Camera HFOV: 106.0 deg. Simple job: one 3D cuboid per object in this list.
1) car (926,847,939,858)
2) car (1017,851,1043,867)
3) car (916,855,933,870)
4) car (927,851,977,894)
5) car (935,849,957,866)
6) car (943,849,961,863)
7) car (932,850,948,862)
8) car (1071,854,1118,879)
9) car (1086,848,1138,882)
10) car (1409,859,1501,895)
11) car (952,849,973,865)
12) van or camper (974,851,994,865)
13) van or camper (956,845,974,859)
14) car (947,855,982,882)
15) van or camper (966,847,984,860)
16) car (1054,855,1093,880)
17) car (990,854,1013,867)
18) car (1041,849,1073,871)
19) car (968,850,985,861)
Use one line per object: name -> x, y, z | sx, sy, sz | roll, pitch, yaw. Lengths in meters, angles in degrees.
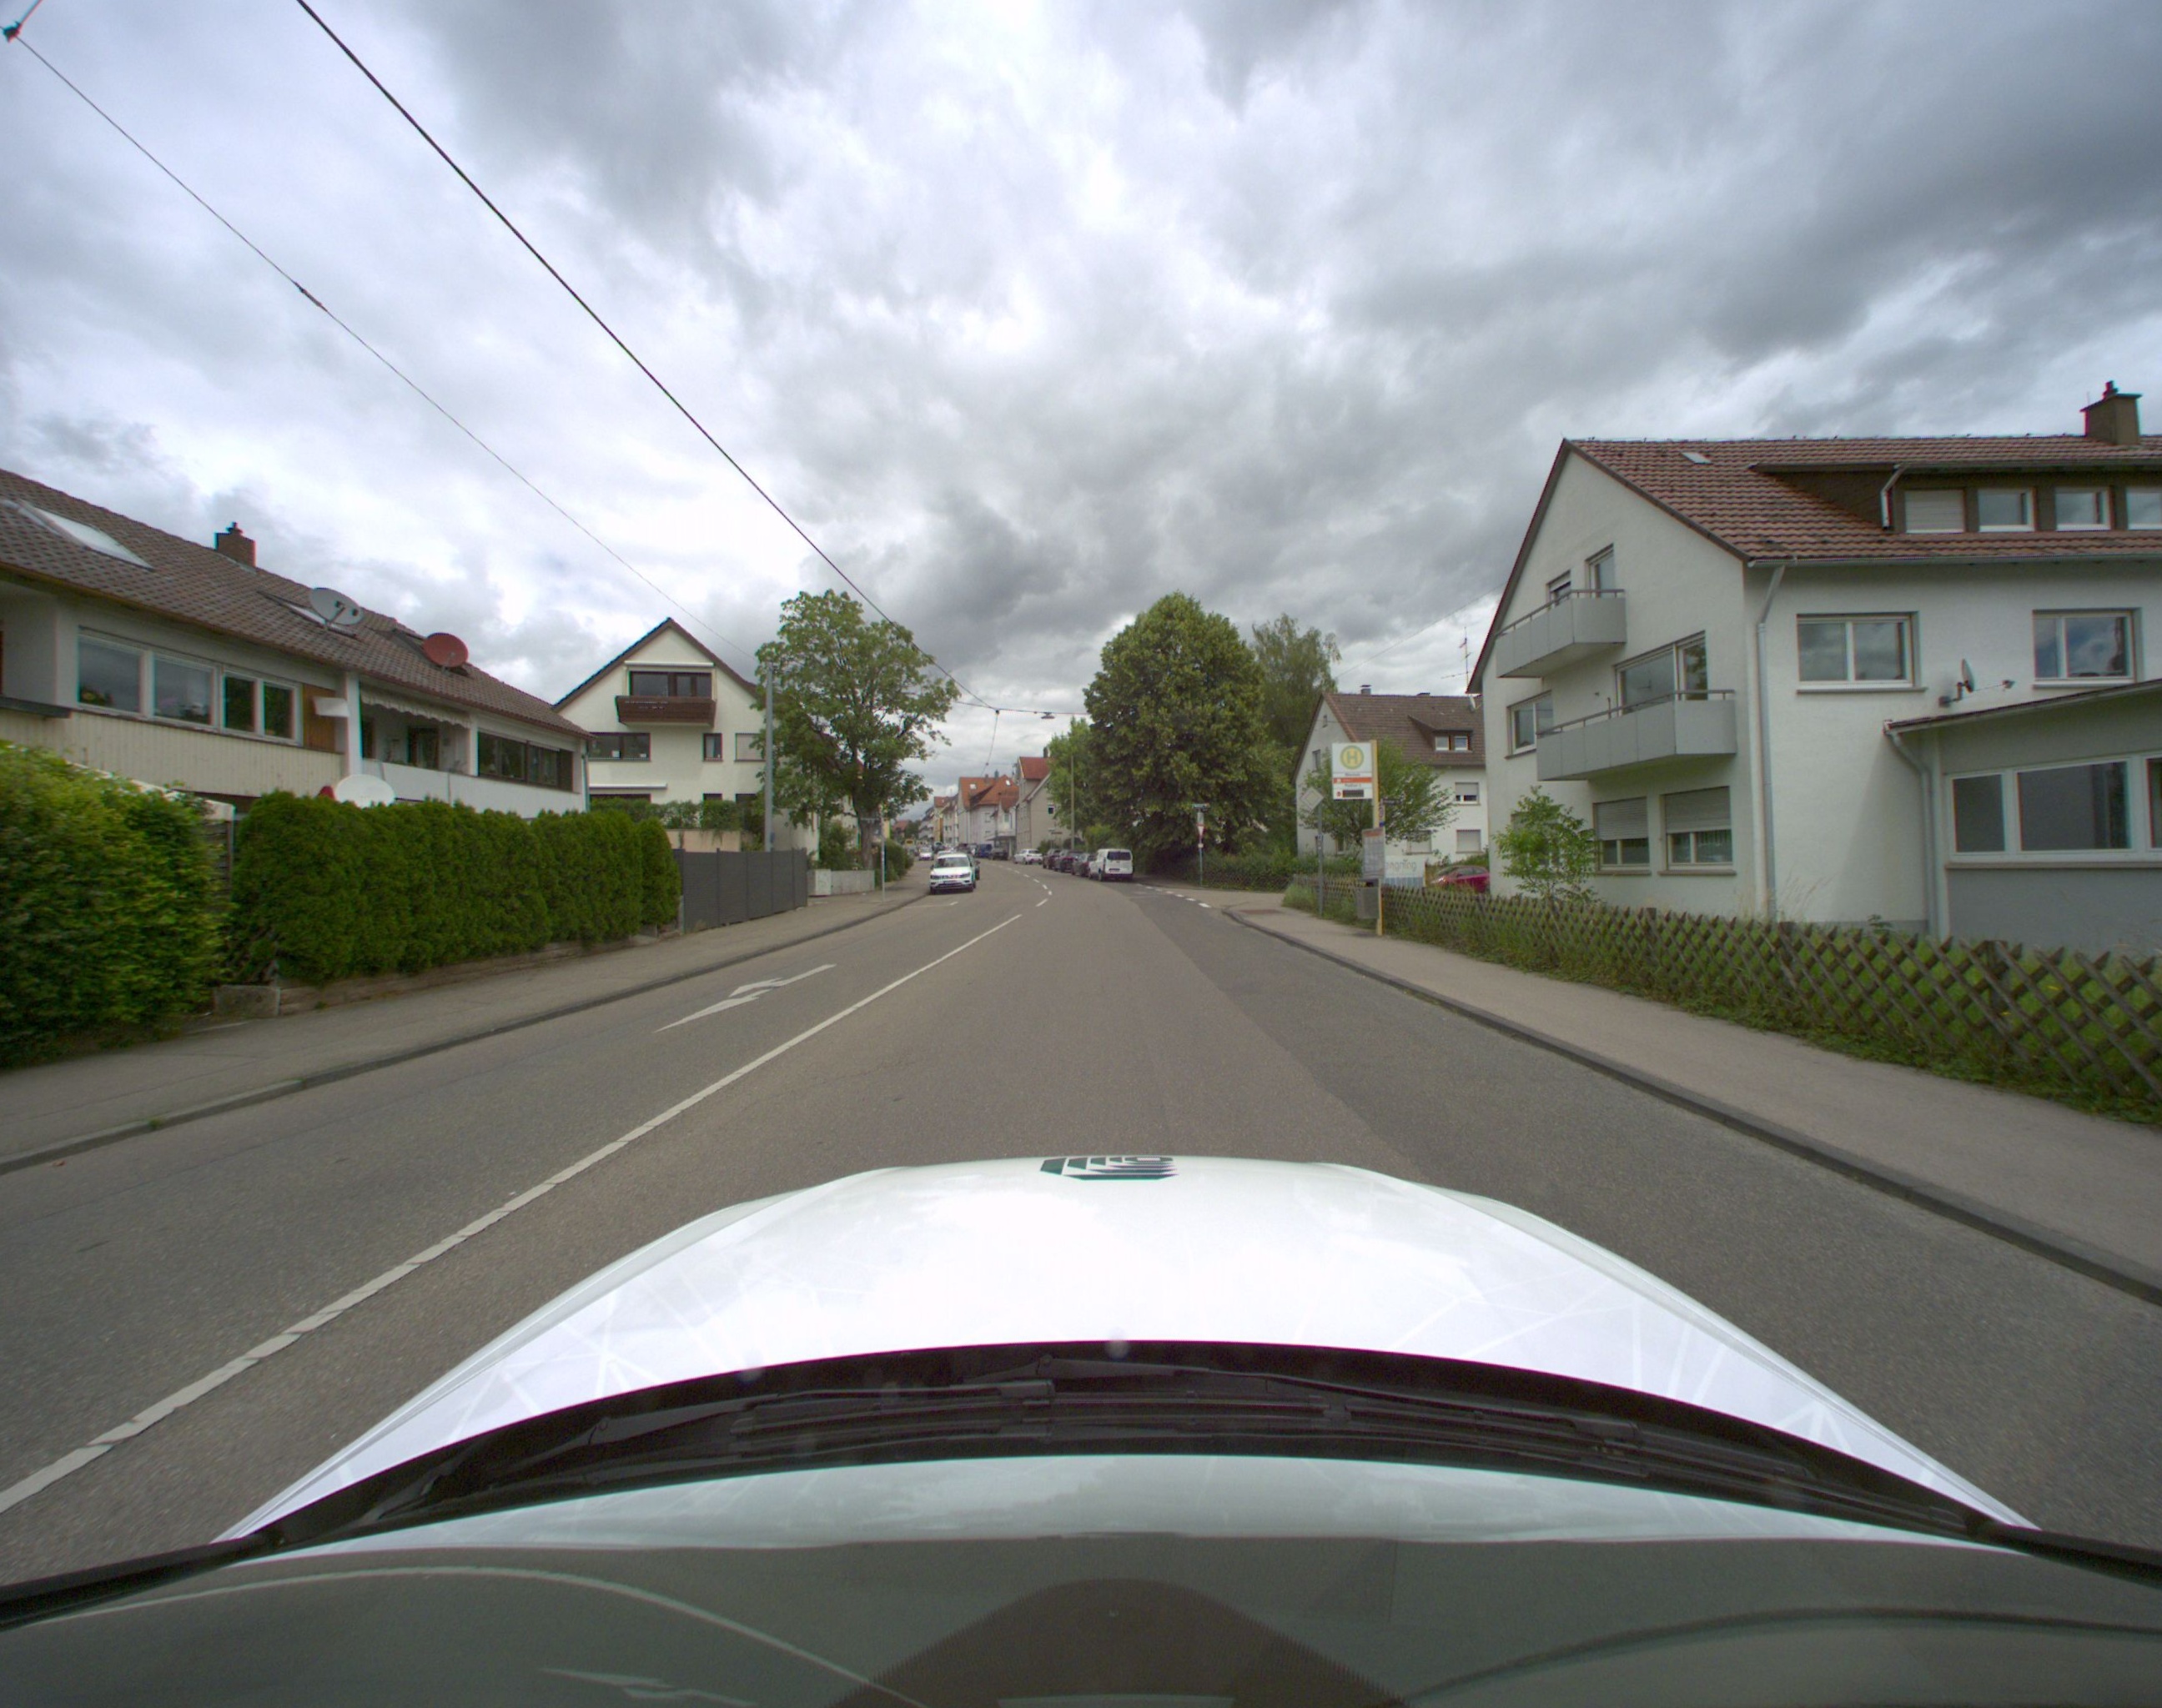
car -> -28.749, -0.338, 157.591 | 2.157, 2.013, 3.977 | 1, 0, -17
car -> -4.793, 0.442, 76.222 | 1.942, 1.439, 3.984 | 0, 0, -12
car -> -19.335, 1.045, 100.560 | 1.833, 1.578, 4.019 | -4, 1, -9
car -> -5.691, 0.799, 36.324 | 1.847, 1.714, 4.566 | -2, 0, -5
car -> -12.633, 0.336, 76.158 | 1.728, 1.458, 3.881 | -4, 1, -13
car -> -19.436, 0.284, 122.581 | 2.157, 2.013, 3.977 | 1, 0, -17
car -> -23.927, 0.372, 138.401 | 2.157, 2.013, 3.977 | 1, 0, -17
car -> 0.763, 0.771, 50.824 | 1.994, 1.478, 4.602 | -1, 0, -11
car -> 1.655, 0.582, 45.587 | 1.839, 1.774, 4.299 | 2, 0, -13
car -> 17.511, 1.109, 38.181 | 3.703, 1.564, 1.679 | 1, -4, -15
car -> -15.679, 0.386, 107.919 | 2.157, 2.013, 3.977 | 1, 0, -17
van or camper -> -13.094, 0.505, 110.145 | 1.931, 1.925, 4.804 | 0, 0, -16
van or camper -> -18.338, -0.325, 128.971 | 1.997, 2.065, 5.913 | 2, 0, -16
car -> -6.969, 0.831, 48.422 | 1.764, 1.438, 4.062 | -3, 1, -12
van or camper -> -15.845, -0.067, 121.673 | 1.875, 1.829, 4.654 | 2, 0, -16
car -> -0.582, 0.924, 57.355 | 1.994, 1.615, 4.521 | 1, -1, -11
car -> -9.709, 0.824, 99.270 | 1.997, 1.518, 4.865 | 1, 0, -16
car -> -1.895, 0.496, 63.077 | 1.812, 1.615, 4.521 | 1, -1, -11
car -> -14.851, 0.215, 115.578 | 1.718, 1.436, 4.614 | 1, 0, -16
